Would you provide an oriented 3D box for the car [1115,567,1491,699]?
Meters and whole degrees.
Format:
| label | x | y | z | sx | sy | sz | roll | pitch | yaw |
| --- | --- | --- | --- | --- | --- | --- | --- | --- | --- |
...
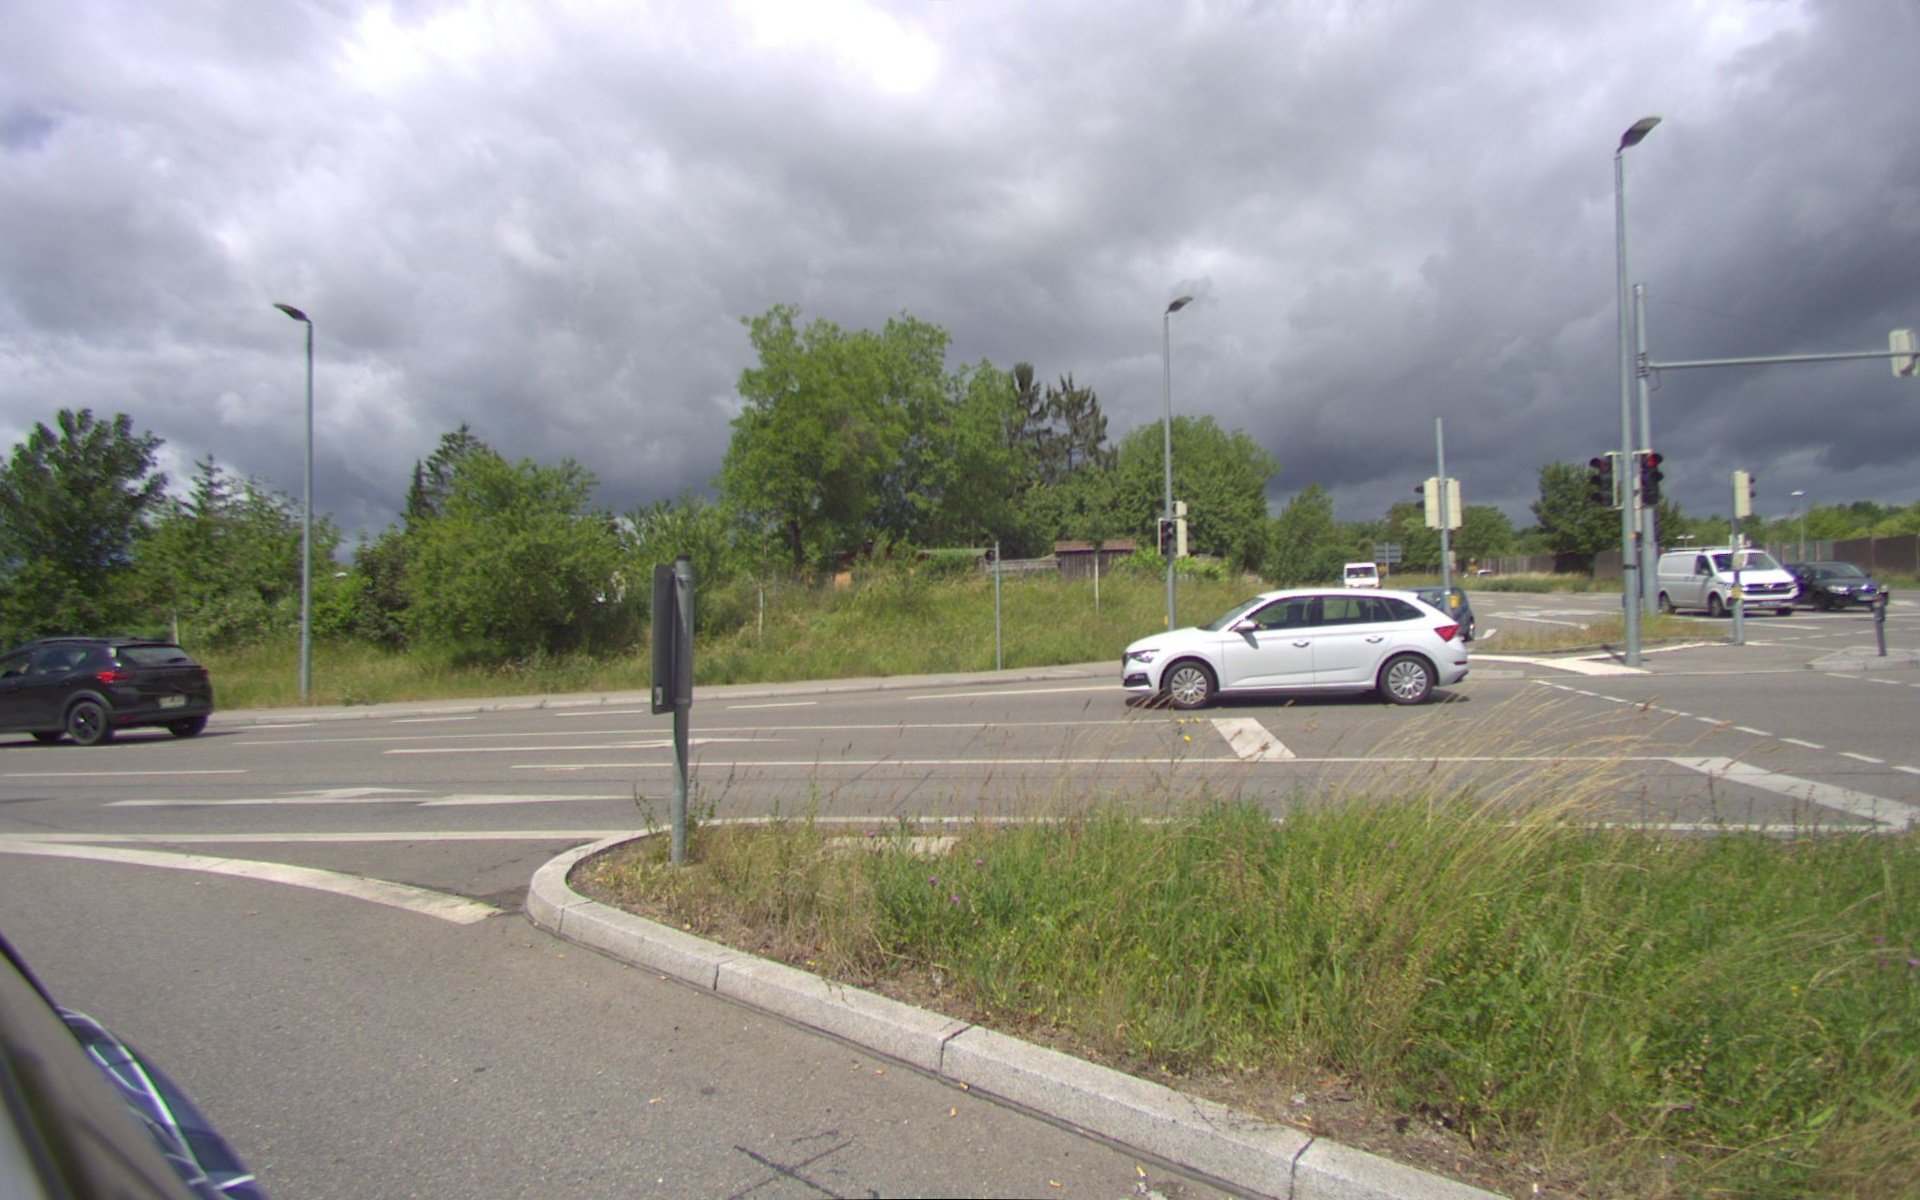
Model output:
| label | x | y | z | sx | sy | sz | roll | pitch | yaw |
| --- | --- | --- | --- | --- | --- | --- | --- | --- | --- |
| car | 4.256 | 0.417 | 13.159 | 4.332 | 1.480 | 1.616 | -2 | 1 | 11 |

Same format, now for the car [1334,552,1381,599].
| label | x | y | z | sx | sy | sz | roll | pitch | yaw |
| --- | --- | --- | --- | --- | --- | --- | --- | --- | --- |
| car | 24.640 | -1.471 | 62.903 | 2.146 | 2.670 | 5.794 | -2 | 0 | 17 |

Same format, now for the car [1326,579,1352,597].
| label | x | y | z | sx | sy | sz | roll | pitch | yaw |
| --- | --- | --- | --- | --- | --- | --- | --- | --- | --- |
| car | 40.436 | -1.258 | 107.952 | 1.979 | 1.587 | 3.984 | -1 | -4 | 12 |

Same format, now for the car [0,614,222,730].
| label | x | y | z | sx | sy | sz | roll | pitch | yaw |
| --- | --- | --- | --- | --- | --- | --- | --- | --- | --- |
| car | -13.741 | 1.085 | 15.285 | 4.115 | 1.590 | 1.786 | -2 | -2 | 7 |

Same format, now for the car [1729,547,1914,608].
| label | x | y | z | sx | sy | sz | roll | pitch | yaw |
| --- | --- | --- | --- | --- | --- | --- | --- | --- | --- |
| car | 25.844 | -0.662 | 30.639 | 1.889 | 1.648 | 4.958 | -2 | 1 | 9 |

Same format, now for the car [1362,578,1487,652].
| label | x | y | z | sx | sy | sz | roll | pitch | yaw |
| --- | --- | --- | --- | --- | --- | --- | --- | --- | --- |
| car | 11.770 | 0.324 | 25.494 | 1.908 | 1.649 | 4.392 | -2 | 1 | 37 |

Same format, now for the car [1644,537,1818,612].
| label | x | y | z | sx | sy | sz | roll | pitch | yaw |
| --- | --- | --- | --- | --- | --- | --- | --- | --- | --- |
| car | 22.522 | -0.727 | 29.861 | 1.889 | 1.951 | 4.958 | -2 | 1 | 9 |
